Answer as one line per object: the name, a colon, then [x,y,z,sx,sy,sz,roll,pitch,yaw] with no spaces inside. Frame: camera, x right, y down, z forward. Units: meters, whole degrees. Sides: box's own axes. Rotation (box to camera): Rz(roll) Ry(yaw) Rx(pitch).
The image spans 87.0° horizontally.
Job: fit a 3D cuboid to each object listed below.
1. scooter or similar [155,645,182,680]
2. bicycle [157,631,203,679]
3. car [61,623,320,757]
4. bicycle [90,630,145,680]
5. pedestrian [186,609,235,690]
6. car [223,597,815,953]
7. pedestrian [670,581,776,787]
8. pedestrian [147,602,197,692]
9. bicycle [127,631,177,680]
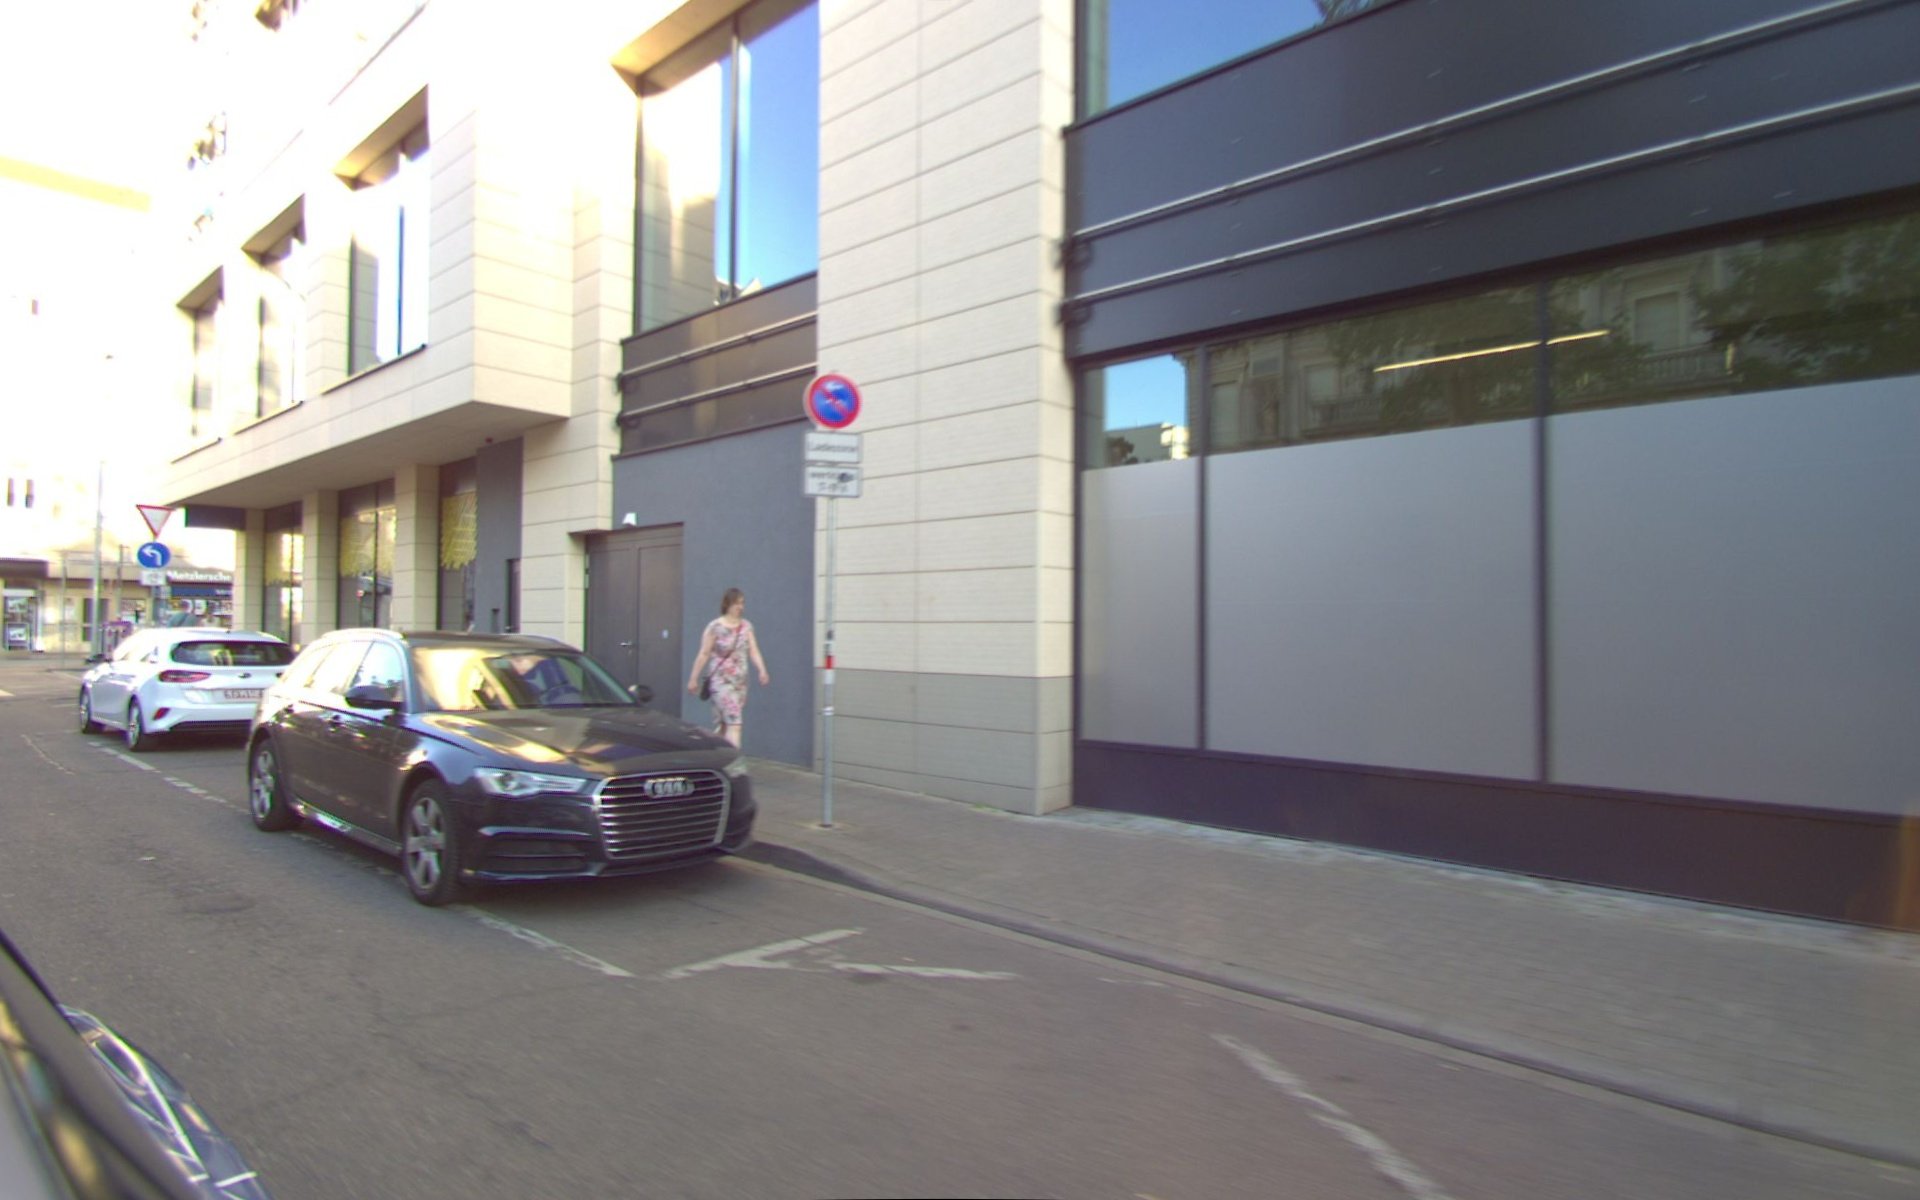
scooter or similar: [-21.066,1.644,26.931,0.769,0.891,0.383,0,-1,40]
bicycle: [-21.855,1.517,28.343,1.976,1.264,0.507,0,-1,37]
car: [-10.076,1.044,13.144,4.227,1.464,1.760,-1,-2,40]
bicycle: [-22.635,1.461,27.186,2.137,1.264,0.657,0,-1,37]
pedestrian: [-16.141,1.054,21.797,0.646,1.687,0.665,-1,-2,38]
car: [-3.229,0.853,6.859,4.687,1.610,1.864,-1,-2,41]
pedestrian: [-2.128,0.728,9.102,0.647,1.758,0.665,-1,-2,41]
pedestrian: [-16.566,0.969,21.274,0.646,1.850,0.665,-1,-2,38]
bicycle: [-22.206,1.499,27.815,2.041,1.264,0.575,0,-1,37]
